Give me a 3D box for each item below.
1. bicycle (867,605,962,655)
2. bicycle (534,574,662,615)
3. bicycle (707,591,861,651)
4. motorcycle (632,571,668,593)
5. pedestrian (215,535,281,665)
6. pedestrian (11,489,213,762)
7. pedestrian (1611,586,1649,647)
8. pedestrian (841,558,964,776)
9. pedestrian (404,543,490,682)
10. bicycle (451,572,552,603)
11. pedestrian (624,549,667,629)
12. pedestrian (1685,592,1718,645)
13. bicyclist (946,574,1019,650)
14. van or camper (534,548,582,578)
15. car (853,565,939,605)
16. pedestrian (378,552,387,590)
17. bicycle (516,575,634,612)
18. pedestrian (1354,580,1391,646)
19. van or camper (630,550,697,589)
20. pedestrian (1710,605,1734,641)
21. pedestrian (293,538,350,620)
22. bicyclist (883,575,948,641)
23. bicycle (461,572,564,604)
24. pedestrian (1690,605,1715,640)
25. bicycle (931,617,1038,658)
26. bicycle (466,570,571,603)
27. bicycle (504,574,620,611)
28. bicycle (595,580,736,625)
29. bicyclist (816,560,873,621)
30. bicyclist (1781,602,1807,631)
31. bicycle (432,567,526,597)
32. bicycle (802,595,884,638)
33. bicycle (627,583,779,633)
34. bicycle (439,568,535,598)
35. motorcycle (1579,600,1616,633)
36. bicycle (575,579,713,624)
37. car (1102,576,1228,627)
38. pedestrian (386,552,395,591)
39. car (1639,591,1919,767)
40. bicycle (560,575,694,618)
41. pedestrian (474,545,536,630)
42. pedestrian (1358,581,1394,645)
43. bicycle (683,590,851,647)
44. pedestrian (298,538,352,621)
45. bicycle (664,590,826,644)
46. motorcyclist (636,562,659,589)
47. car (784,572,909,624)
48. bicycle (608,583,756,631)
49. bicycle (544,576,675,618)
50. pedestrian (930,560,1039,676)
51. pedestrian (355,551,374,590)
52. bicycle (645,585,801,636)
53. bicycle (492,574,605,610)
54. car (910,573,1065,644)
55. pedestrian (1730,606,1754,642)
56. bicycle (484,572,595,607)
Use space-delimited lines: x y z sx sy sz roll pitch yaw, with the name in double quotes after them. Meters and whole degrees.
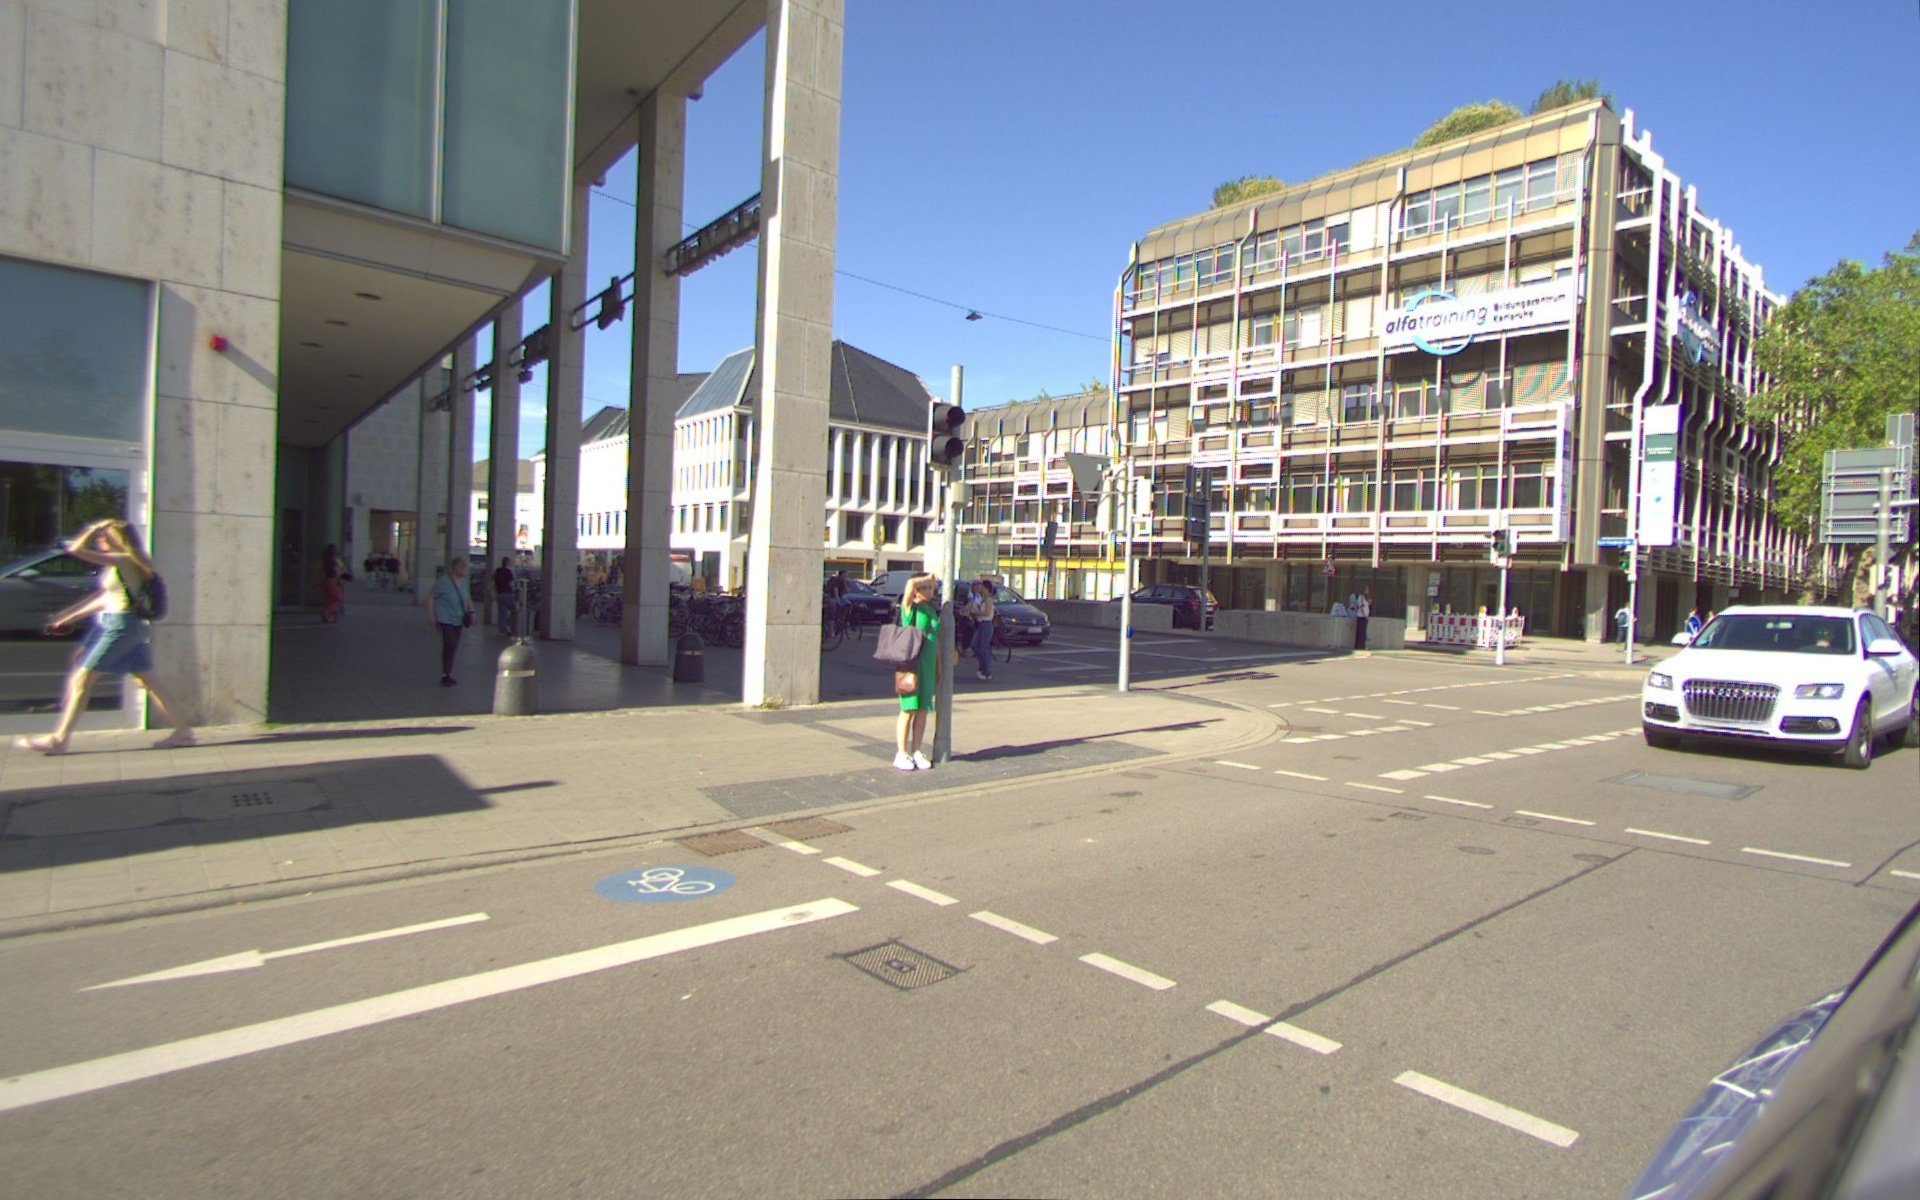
-1.051 0.650 22.705 1.052 0.955 2.200 2 1 -37 "bicycle"
-10.858 -0.159 30.462 3.434 1.107 1.069 1 1 -39 "bicycle"
-3.544 0.421 20.620 2.937 1.107 1.068 1 1 -40 "bicycle"
-16.358 -0.967 53.282 0.781 1.112 2.962 1 1 -38 "motorcycle"
-9.198 -0.007 13.063 0.547 1.628 0.749 3 0 -42 "pedestrian"
-6.149 0.153 7.368 1.047 1.823 0.729 2 3 -42 "pedestrian"
23.182 0.559 35.013 0.945 2.039 1.065 3 1 38 "pedestrian"
-0.492 0.536 8.614 0.686 1.723 0.658 2 3 -43 "pedestrian"
-6.306 0.145 12.435 0.736 1.628 0.725 3 0 -40 "pedestrian"
-17.992 -0.469 39.775 3.434 1.107 1.069 1 1 -39 "bicycle"
-7.878 -0.277 25.344 0.631 1.931 0.734 3 1 26 "pedestrian"
29.624 0.728 40.427 0.946 2.039 1.063 2 0 41 "pedestrian"
0.460 0.235 20.724 1.052 1.494 1.025 2 1 -37 "bicyclist"
-36.736 -3.366 92.361 2.281 2.545 6.425 2 1 -38 "van or camper"
-3.129 -0.745 49.043 4.147 1.755 1.763 3 0 42 "car"
-26.162 -1.303 45.857 0.289 1.705 0.338 2 0 -32 "pedestrian"
-12.524 -0.205 33.040 3.434 1.107 1.069 1 1 -39 "bicycle"
10.688 0.330 26.192 0.659 1.632 0.519 5 3 40 "pedestrian"
-21.137 -2.193 71.868 2.281 2.545 6.425 2 1 -38 "van or camper"
35.960 1.073 47.760 0.715 1.620 0.668 2 3 -41 "pedestrian"
-13.721 -0.443 21.753 0.774 1.705 0.689 2 0 -8 "pedestrian"
-1.005 0.182 22.674 1.056 1.413 0.936 2 1 -38 "bicyclist"
-17.154 -0.436 38.869 3.434 1.107 1.069 1 1 -39 "bicycle"
35.559 1.074 48.469 0.991 1.620 0.668 2 3 -41 "pedestrian"
0.474 0.750 20.704 1.052 0.679 2.200 2 1 -37 "bicycle"
-16.438 -0.506 37.768 3.434 1.107 1.069 1 1 -39 "bicycle"
-13.303 -0.243 33.883 3.434 1.107 1.069 1 1 -39 "bicycle"
-7.777 0.086 26.914 3.434 1.107 1.069 1 1 -39 "bicycle"
-2.861 -0.238 25.049 1.021 1.451 0.936 2 1 -38 "bicyclist"
43.191 0.854 52.411 0.868 1.495 0.882 2 1 -41 "bicyclist"
-20.375 -0.752 42.940 3.434 1.107 1.069 1 1 -39 "bicycle"
-2.922 0.391 25.087 1.011 0.944 2.200 2 1 -37 "bicycle"
-6.208 0.215 24.649 3.434 1.107 1.069 1 1 -39 "bicycle"
-19.424 -0.704 41.629 3.434 1.107 1.069 1 1 -39 "bicycle"
29.071 0.752 46.164 2.085 1.459 0.825 2 1 -41 "motorcycle"
-8.610 0.059 27.737 3.434 1.107 1.069 1 1 -39 "bicycle"
7.550 0.019 37.634 1.758 1.720 4.408 2 1 -40 "car"
-25.592 -1.280 45.504 0.289 1.705 0.338 2 0 -32 "pedestrian"
9.608 0.770 11.553 4.331 1.634 1.824 1 0 -38 "car"
-9.368 -0.076 28.617 3.434 1.107 1.069 1 1 -39 "bicycle"
-9.418 -0.262 20.949 0.846 1.705 0.978 2 1 -43 "pedestrian"
10.998 0.341 26.764 0.659 1.632 0.519 5 3 40 "pedestrian"
-4.080 0.406 21.702 3.434 1.107 1.068 1 1 -40 "bicycle"
-13.555 -0.439 21.624 0.722 1.705 0.680 2 0 -8 "pedestrian"
-4.765 0.384 22.655 3.434 1.107 1.068 1 1 -40 "bicycle"
-16.513 -1.280 53.495 0.781 1.400 1.082 1 1 -38 "motorcyclist"
-3.756 -0.107 32.804 1.827 1.438 4.617 0 3 -38 "car"
-6.955 0.192 25.513 3.434 1.107 1.069 1 1 -39 "bicycle"
-10.164 -0.073 29.497 3.434 1.107 1.069 1 1 -39 "bicycle"
0.416 0.289 17.049 1.496 1.823 0.969 2 3 -42 "pedestrian"
-26.811 -1.335 45.546 0.535 1.705 0.565 3 0 42 "pedestrian"
-5.502 0.257 23.720 3.434 1.107 1.068 1 1 -40 "bicycle"
-14.082 -0.253 34.726 3.434 1.107 1.069 1 1 -39 "bicycle"
0.631 0.151 26.776 1.827 1.632 4.196 0 3 -38 "car"
36.418 1.110 47.138 0.715 1.620 0.668 2 3 -40 "pedestrian"
-14.797 -0.346 35.667 3.434 1.107 1.069 1 1 -39 "bicycle"
